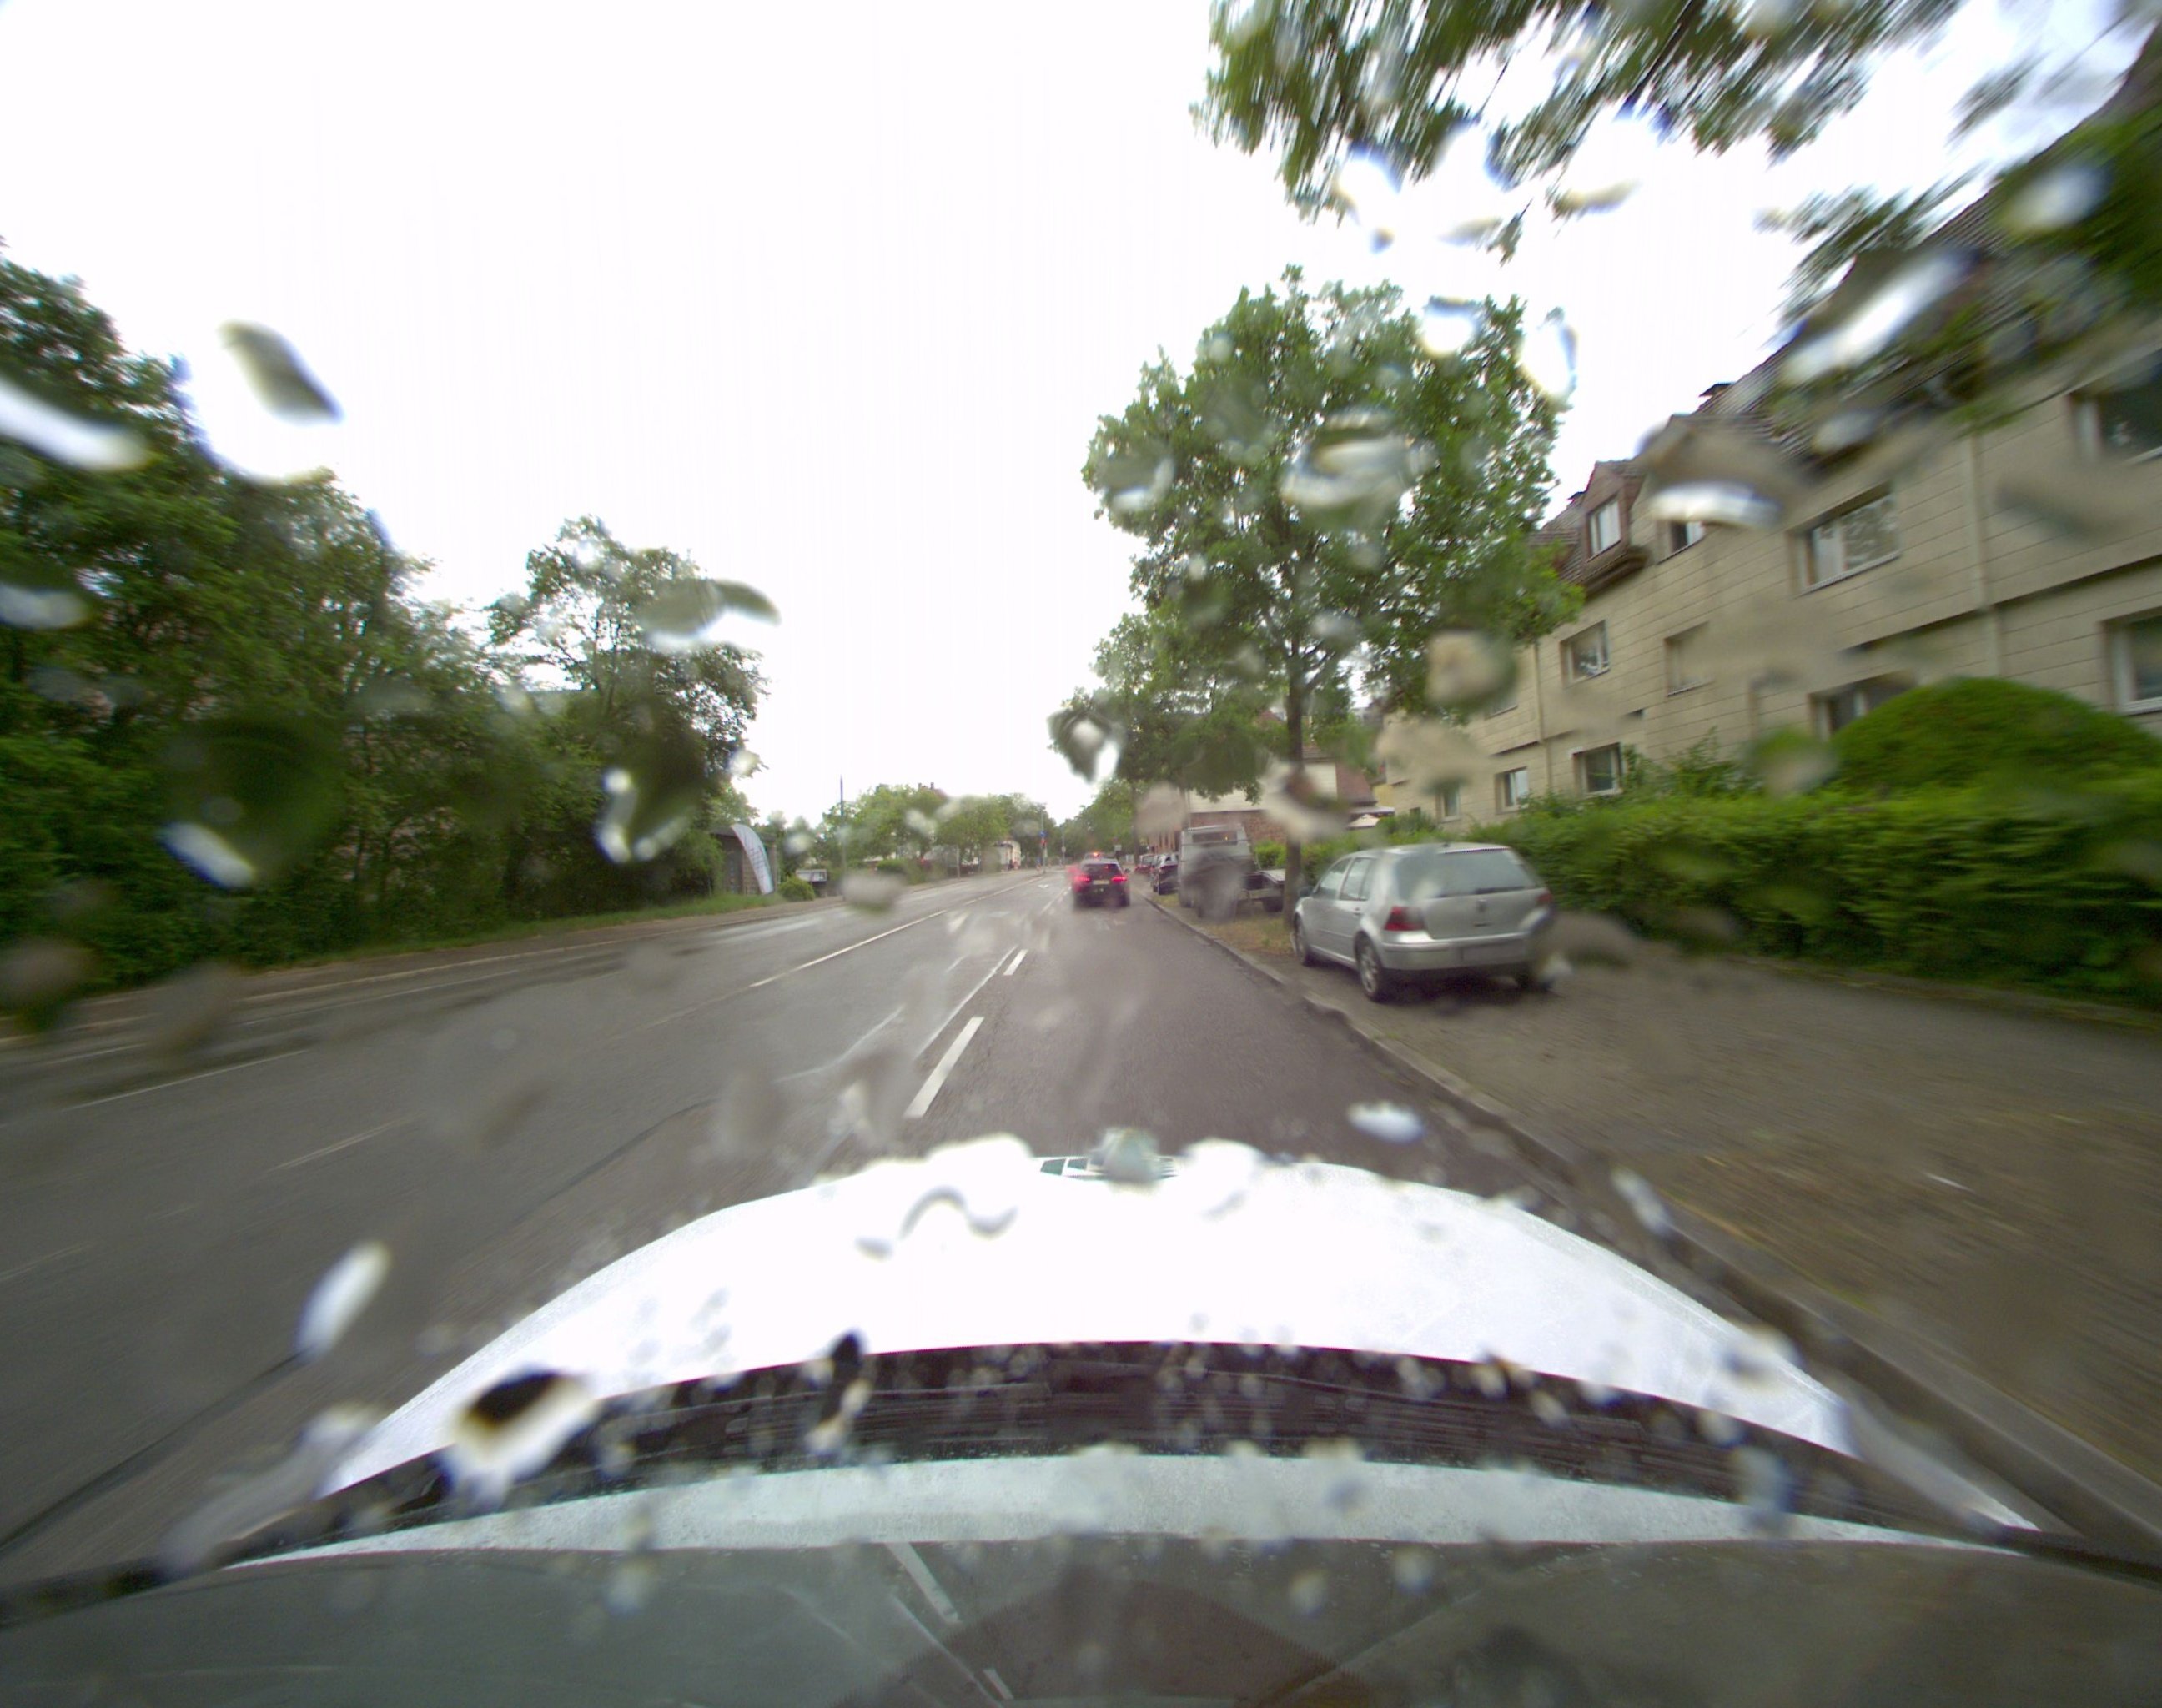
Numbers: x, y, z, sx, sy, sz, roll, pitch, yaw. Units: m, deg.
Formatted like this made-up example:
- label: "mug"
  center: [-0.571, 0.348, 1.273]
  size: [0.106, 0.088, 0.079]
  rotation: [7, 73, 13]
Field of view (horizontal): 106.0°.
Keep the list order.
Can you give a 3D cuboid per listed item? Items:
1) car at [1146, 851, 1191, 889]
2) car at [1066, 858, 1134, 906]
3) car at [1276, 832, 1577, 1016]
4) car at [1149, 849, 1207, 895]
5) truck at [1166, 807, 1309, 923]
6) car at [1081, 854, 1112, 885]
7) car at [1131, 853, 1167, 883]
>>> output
- label: "car"
  center: [3.954, 0.701, 37.388]
  size: [1.599, 1.472, 3.857]
  rotation: [-5, 0, 1]
- label: "car"
  center: [0.572, 0.894, 27.565]
  size: [2.058, 1.446, 4.481]
  rotation: [-1, -1, -1]
- label: "car"
  center: [3.455, 0.597, 9.025]
  size: [1.596, 1.436, 4.022]
  rotation: [-5, 0, 1]
- label: "car"
  center: [3.670, 0.660, 31.414]
  size: [1.708, 1.498, 4.184]
  rotation: [-5, 0, 1]
- label: "truck"
  center: [3.566, 0.242, 20.033]
  size: [2.074, 2.221, 6.500]
  rotation: [-5, 0, 0]
- label: "car"
  center: [0.923, 0.920, 51.271]
  size: [1.778, 1.817, 3.999]
  rotation: [-2, 0, 0]
- label: "car"
  center: [3.893, 0.770, 47.016]
  size: [1.579, 1.490, 3.626]
  rotation: [-5, 0, -1]
